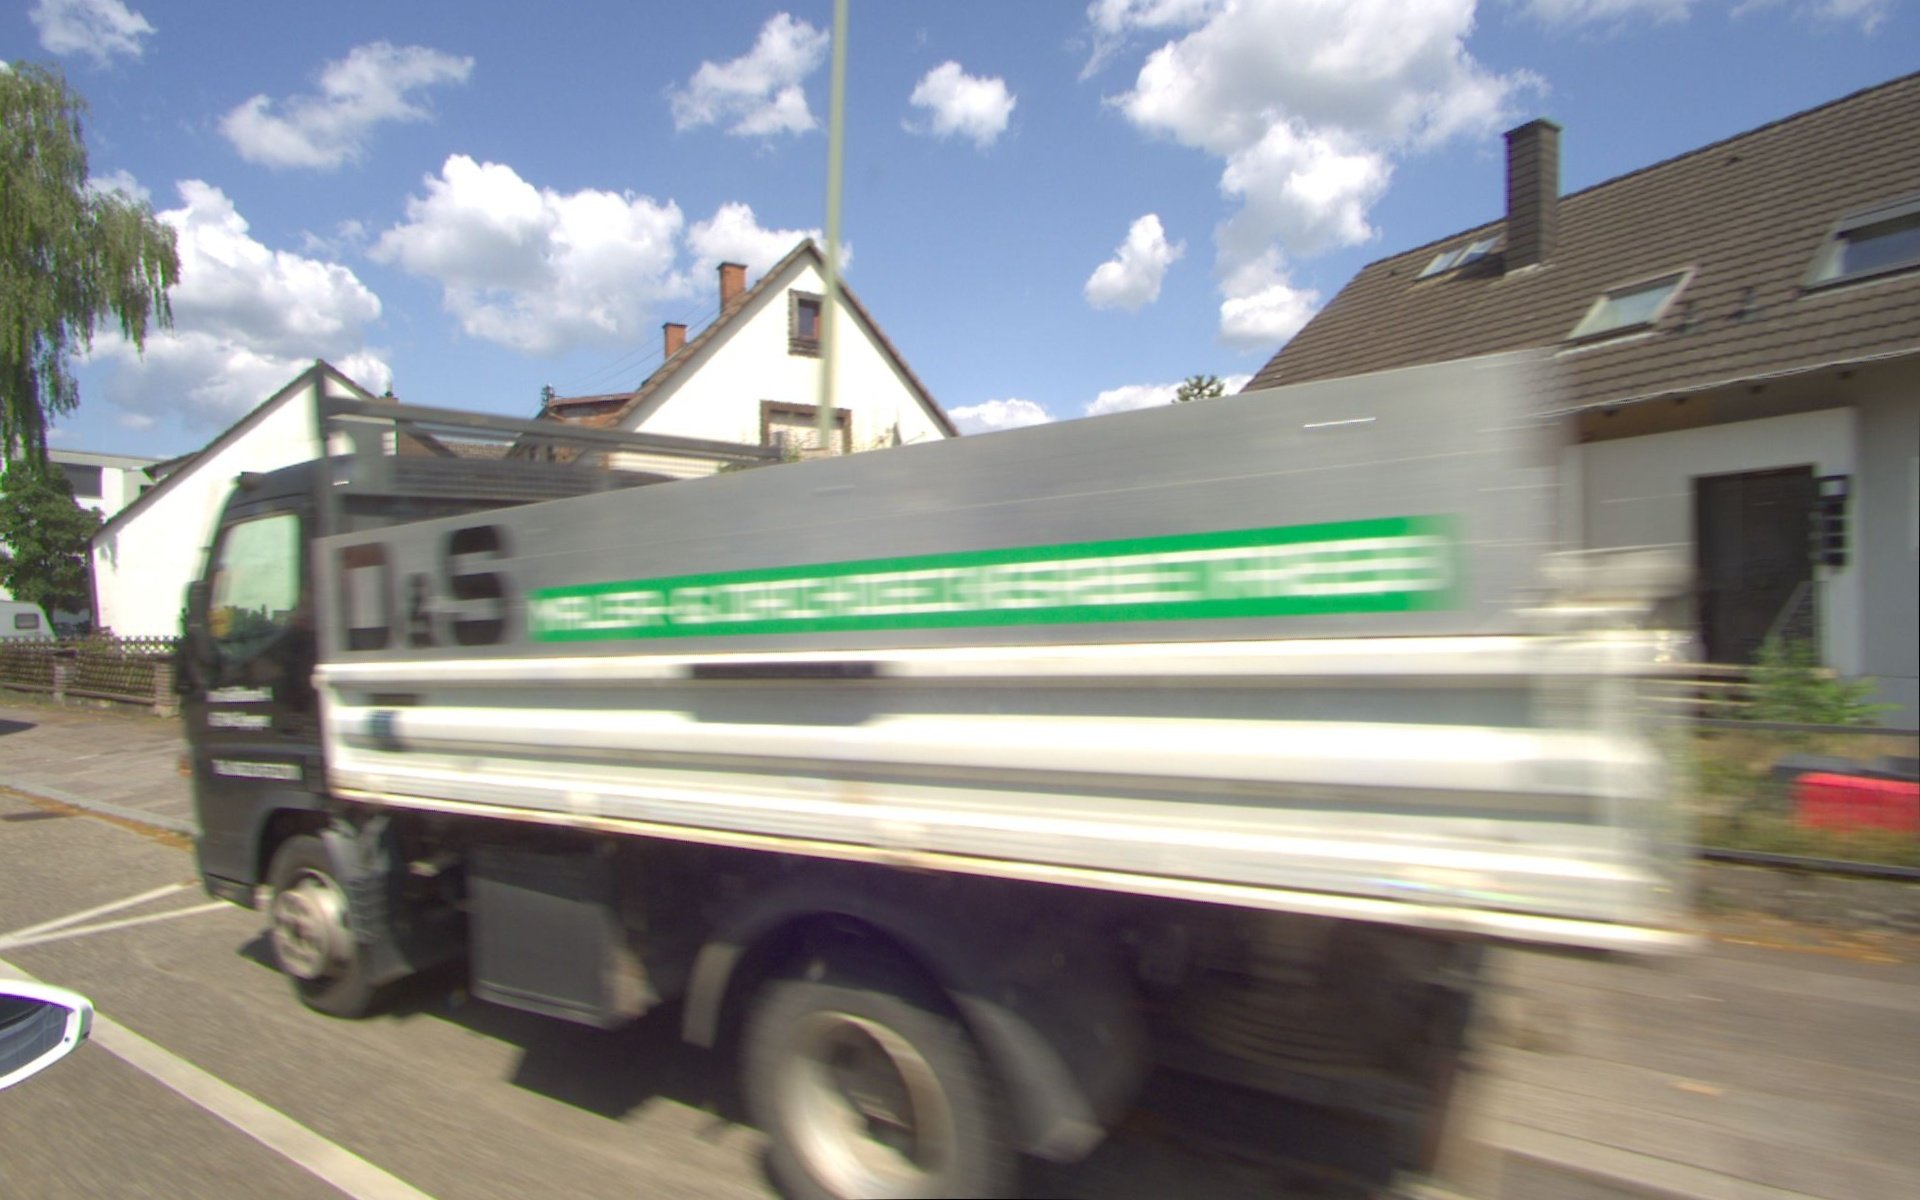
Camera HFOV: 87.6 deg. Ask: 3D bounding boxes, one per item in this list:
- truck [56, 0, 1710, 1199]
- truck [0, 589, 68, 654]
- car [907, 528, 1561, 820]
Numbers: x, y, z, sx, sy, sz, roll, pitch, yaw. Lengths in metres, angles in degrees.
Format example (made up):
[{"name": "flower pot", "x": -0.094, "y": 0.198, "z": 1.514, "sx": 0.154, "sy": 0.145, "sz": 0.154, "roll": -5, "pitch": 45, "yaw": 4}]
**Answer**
[{"name": "truck", "x": -0.831, "y": 0.342, "z": 3.896, "sx": 5.812, "sy": 2.331, "sz": 2.514, "roll": -1, "pitch": 3, "yaw": 33}, {"name": "truck", "x": -39.666, "y": 0.855, "z": 39.874, "sx": 2.517, "sy": 2.611, "sz": 6.059, "roll": 0, "pitch": -1, "yaw": 7}, {"name": "car", "x": 2.139, "y": 0.501, "z": 8.476, "sx": 4.943, "sy": 1.890, "sz": 1.855, "roll": 0, "pitch": 0, "yaw": 28}]
